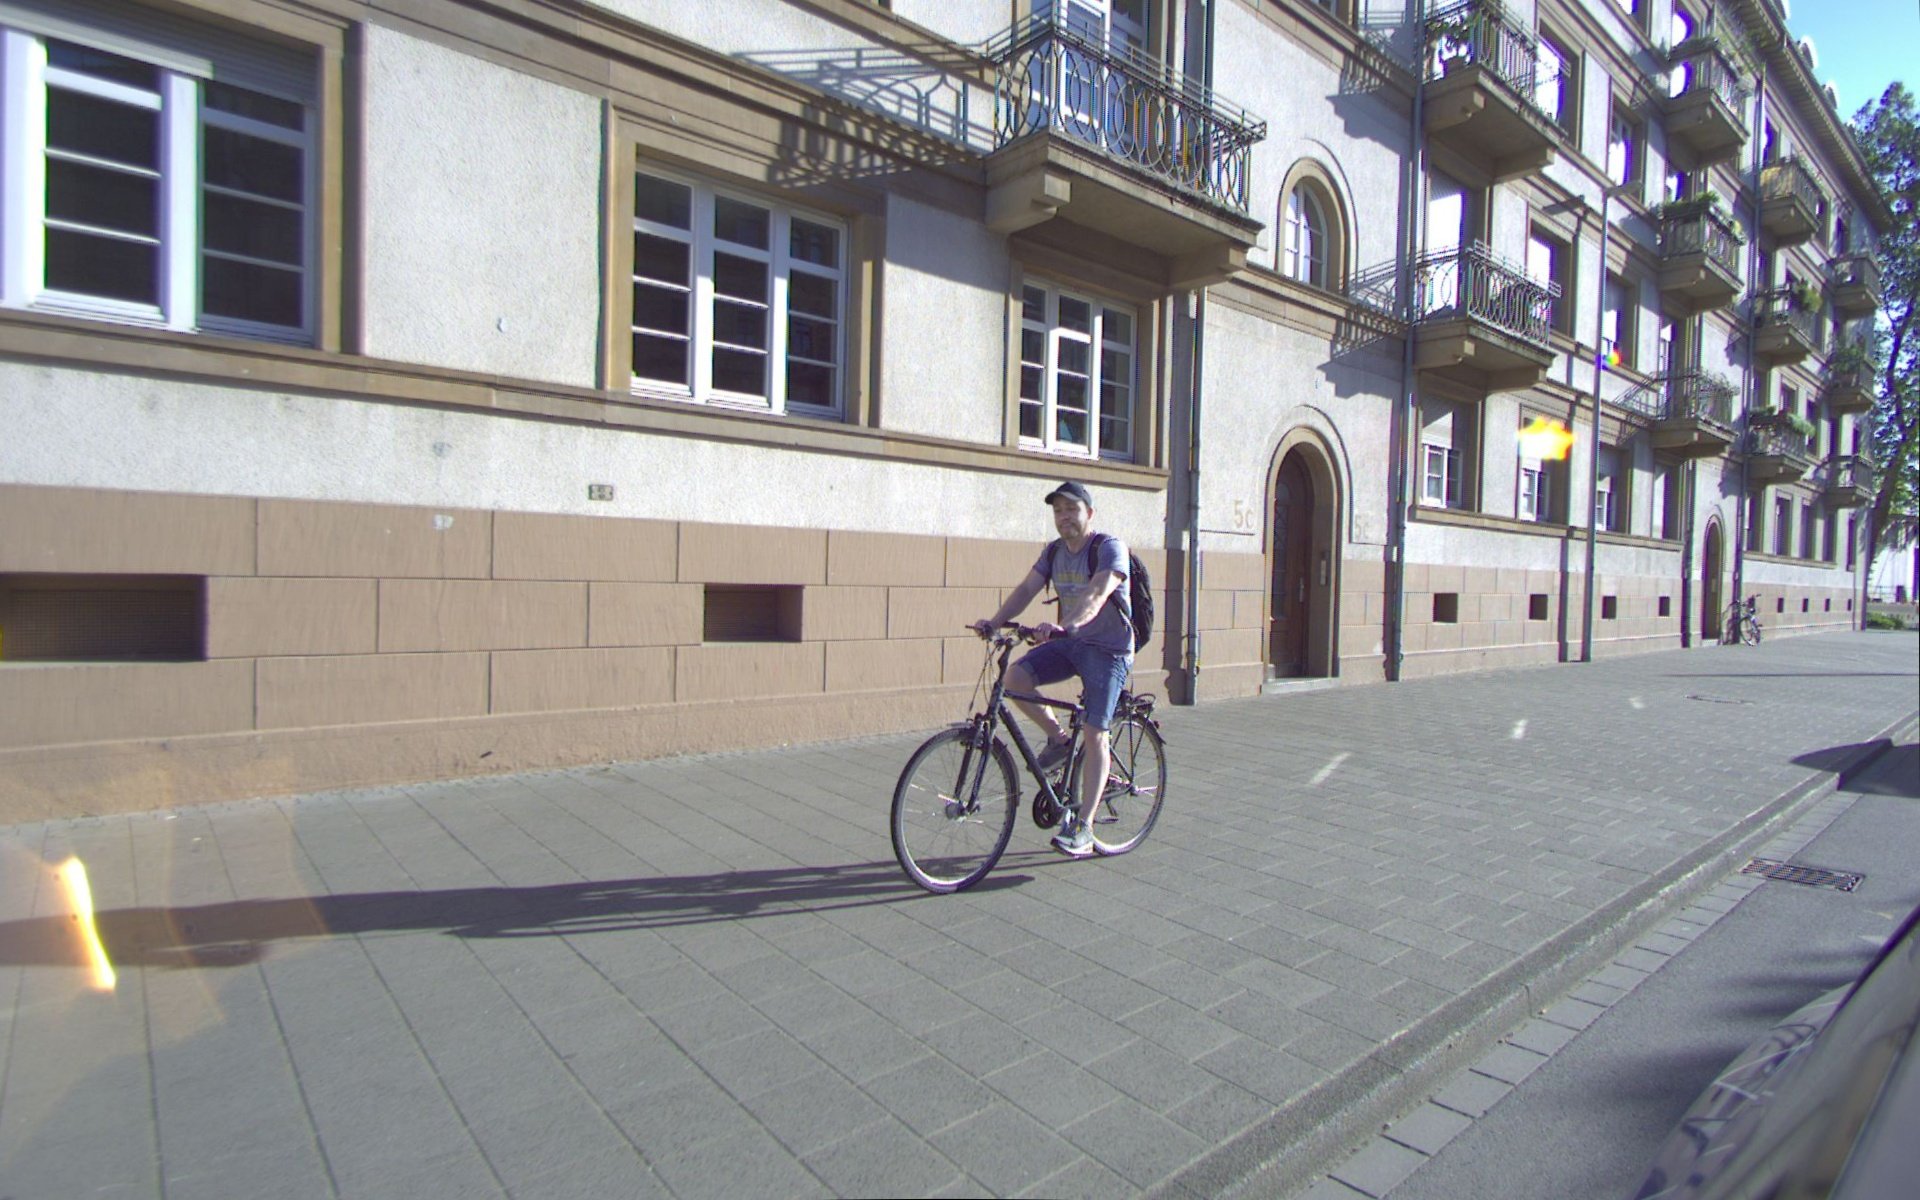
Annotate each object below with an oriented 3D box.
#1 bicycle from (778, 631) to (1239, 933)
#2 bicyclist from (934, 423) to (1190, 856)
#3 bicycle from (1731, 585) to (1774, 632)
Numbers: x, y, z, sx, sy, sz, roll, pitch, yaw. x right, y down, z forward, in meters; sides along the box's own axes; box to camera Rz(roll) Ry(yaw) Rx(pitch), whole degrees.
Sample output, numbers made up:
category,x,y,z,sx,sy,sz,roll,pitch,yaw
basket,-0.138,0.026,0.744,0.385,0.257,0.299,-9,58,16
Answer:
category,x,y,z,sx,sy,sz,roll,pitch,yaw
bicycle,0.313,0.679,4.593,2.160,0.964,0.769,0,2,-42
bicyclist,0.479,0.148,4.741,0.921,1.785,0.734,0,2,-41
bicycle,19.796,0.200,25.262,2.160,1.109,0.419,0,2,-41
